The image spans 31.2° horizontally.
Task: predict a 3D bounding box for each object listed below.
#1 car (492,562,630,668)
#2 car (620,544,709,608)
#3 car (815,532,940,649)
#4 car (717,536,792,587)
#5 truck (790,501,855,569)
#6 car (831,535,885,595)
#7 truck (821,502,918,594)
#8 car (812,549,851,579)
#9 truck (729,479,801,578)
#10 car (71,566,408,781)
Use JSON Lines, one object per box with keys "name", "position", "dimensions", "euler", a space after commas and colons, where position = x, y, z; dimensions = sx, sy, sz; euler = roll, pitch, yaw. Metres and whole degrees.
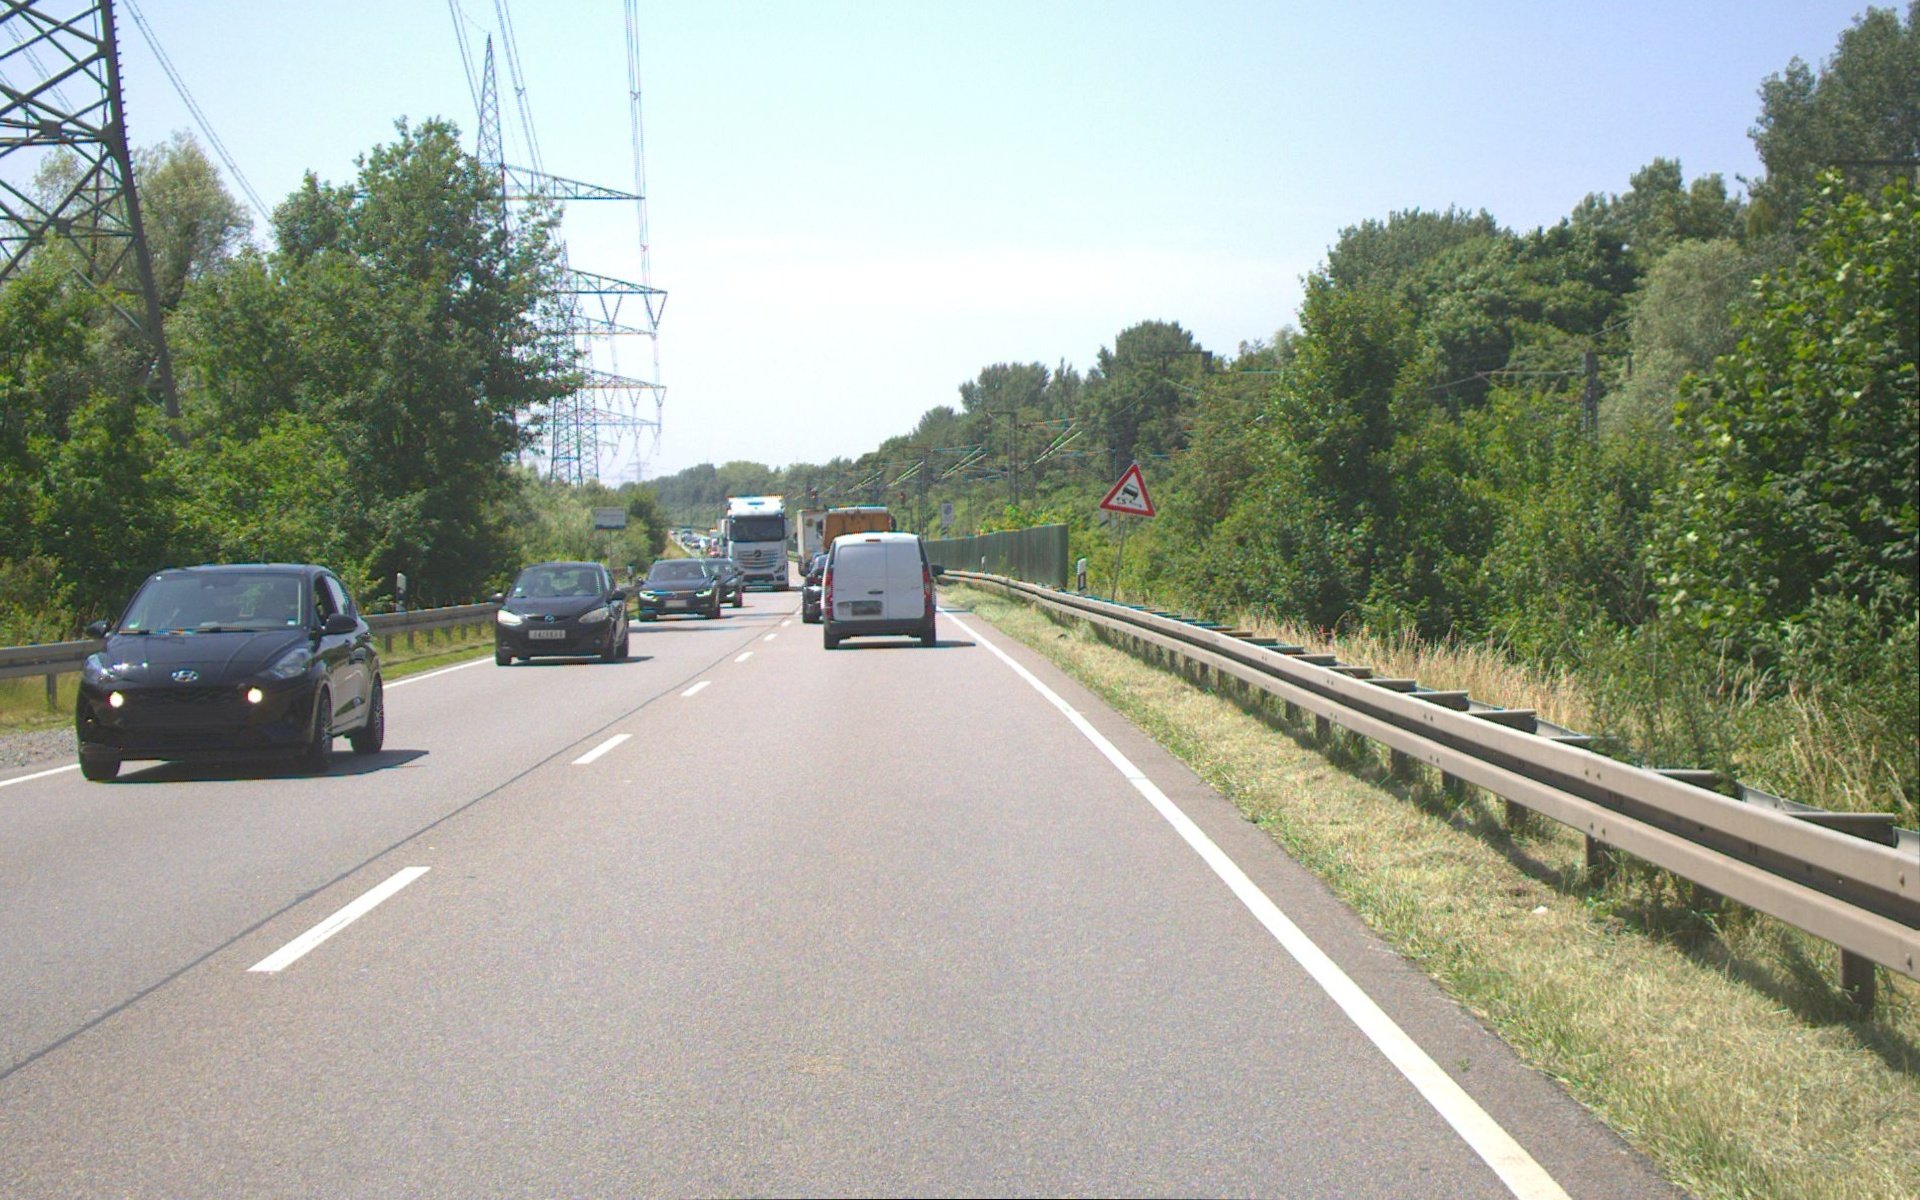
{"name": "car", "position": [-5.770, 0.183, 50.056], "dimensions": [1.633, 1.432, 4.415], "euler": [-1, 1, -2]}
{"name": "car", "position": [-7.126, -0.600, 83.137], "dimensions": [1.845, 1.492, 4.000], "euler": [-1, 1, -1]}
{"name": "car", "position": [-1.284, -0.172, 54.286], "dimensions": [1.875, 1.735, 4.000], "euler": [1, 1, -1]}
{"name": "car", "position": [-6.074, -1.149, 102.075], "dimensions": [1.993, 1.449, 4.000], "euler": [-1, 1, -1]}
{"name": "truck", "position": [-8.529, -4.109, 211.440], "dimensions": [3.402, 3.841, 16.821], "euler": [2, 2, -4]}
{"name": "car", "position": [-3.558, -1.225, 119.894], "dimensions": [1.763, 2.007, 4.001], "euler": [1, 1, -3]}
{"name": "truck", "position": [-3.570, -2.094, 131.562], "dimensions": [3.296, 3.161, 14.407], "euler": [2, 2, -3]}
{"name": "car", "position": [-6.692, -1.887, 179.169], "dimensions": [1.993, 1.521, 4.000], "euler": [-1, 1, -2]}
{"name": "truck", "position": [-8.330, -3.041, 147.865], "dimensions": [2.742, 4.028, 9.665], "euler": [-2, 1, -2]}
{"name": "car", "position": [-5.204, 0.476, 25.317], "dimensions": [1.634, 1.432, 4.180], "euler": [0, 1, 0]}
